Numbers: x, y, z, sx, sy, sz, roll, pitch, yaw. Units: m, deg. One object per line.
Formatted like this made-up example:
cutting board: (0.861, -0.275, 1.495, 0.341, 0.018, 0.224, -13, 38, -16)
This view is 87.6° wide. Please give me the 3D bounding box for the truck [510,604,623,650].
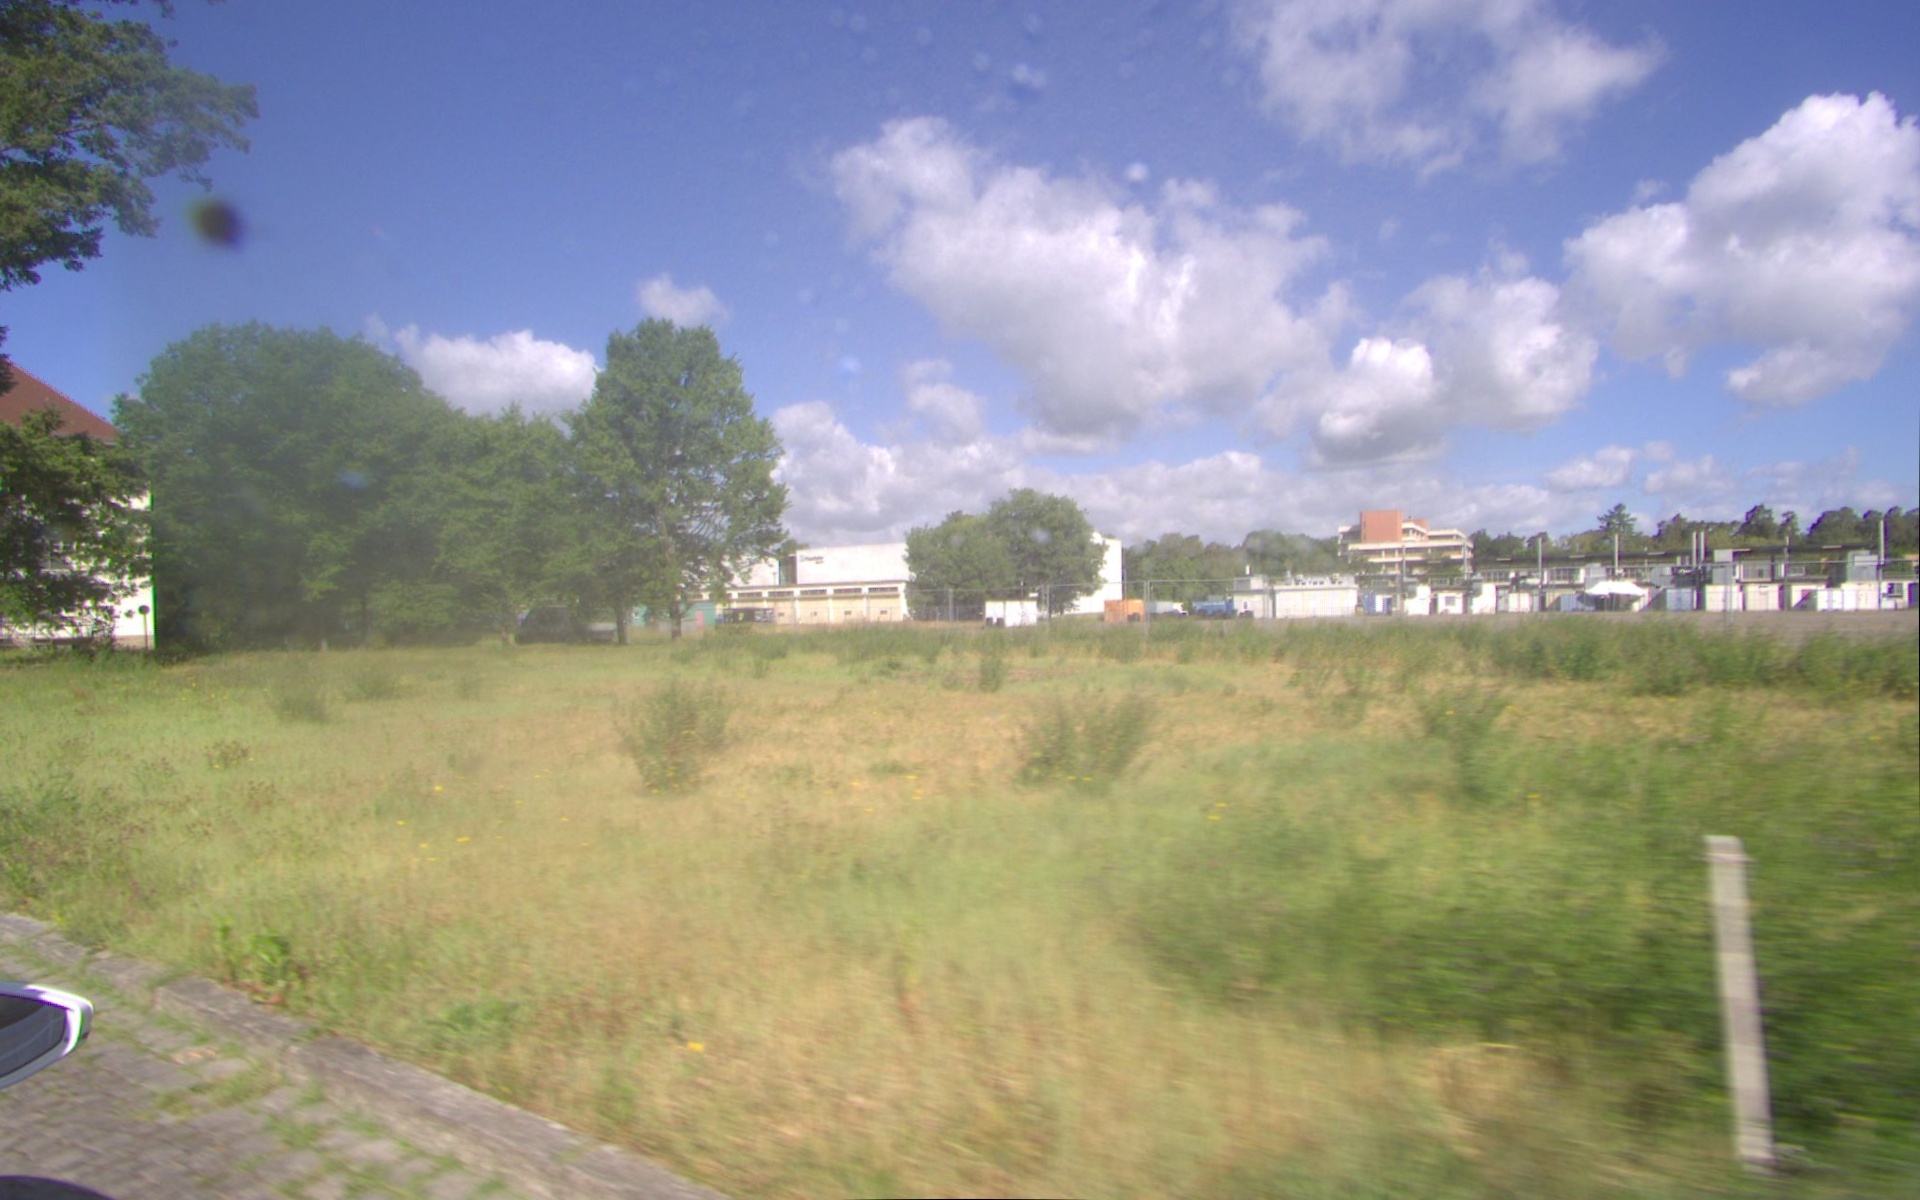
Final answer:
truck: (-21.982, 1.547, 55.811, 6.787, 2.454, 2.230, -2, -2, 32)
